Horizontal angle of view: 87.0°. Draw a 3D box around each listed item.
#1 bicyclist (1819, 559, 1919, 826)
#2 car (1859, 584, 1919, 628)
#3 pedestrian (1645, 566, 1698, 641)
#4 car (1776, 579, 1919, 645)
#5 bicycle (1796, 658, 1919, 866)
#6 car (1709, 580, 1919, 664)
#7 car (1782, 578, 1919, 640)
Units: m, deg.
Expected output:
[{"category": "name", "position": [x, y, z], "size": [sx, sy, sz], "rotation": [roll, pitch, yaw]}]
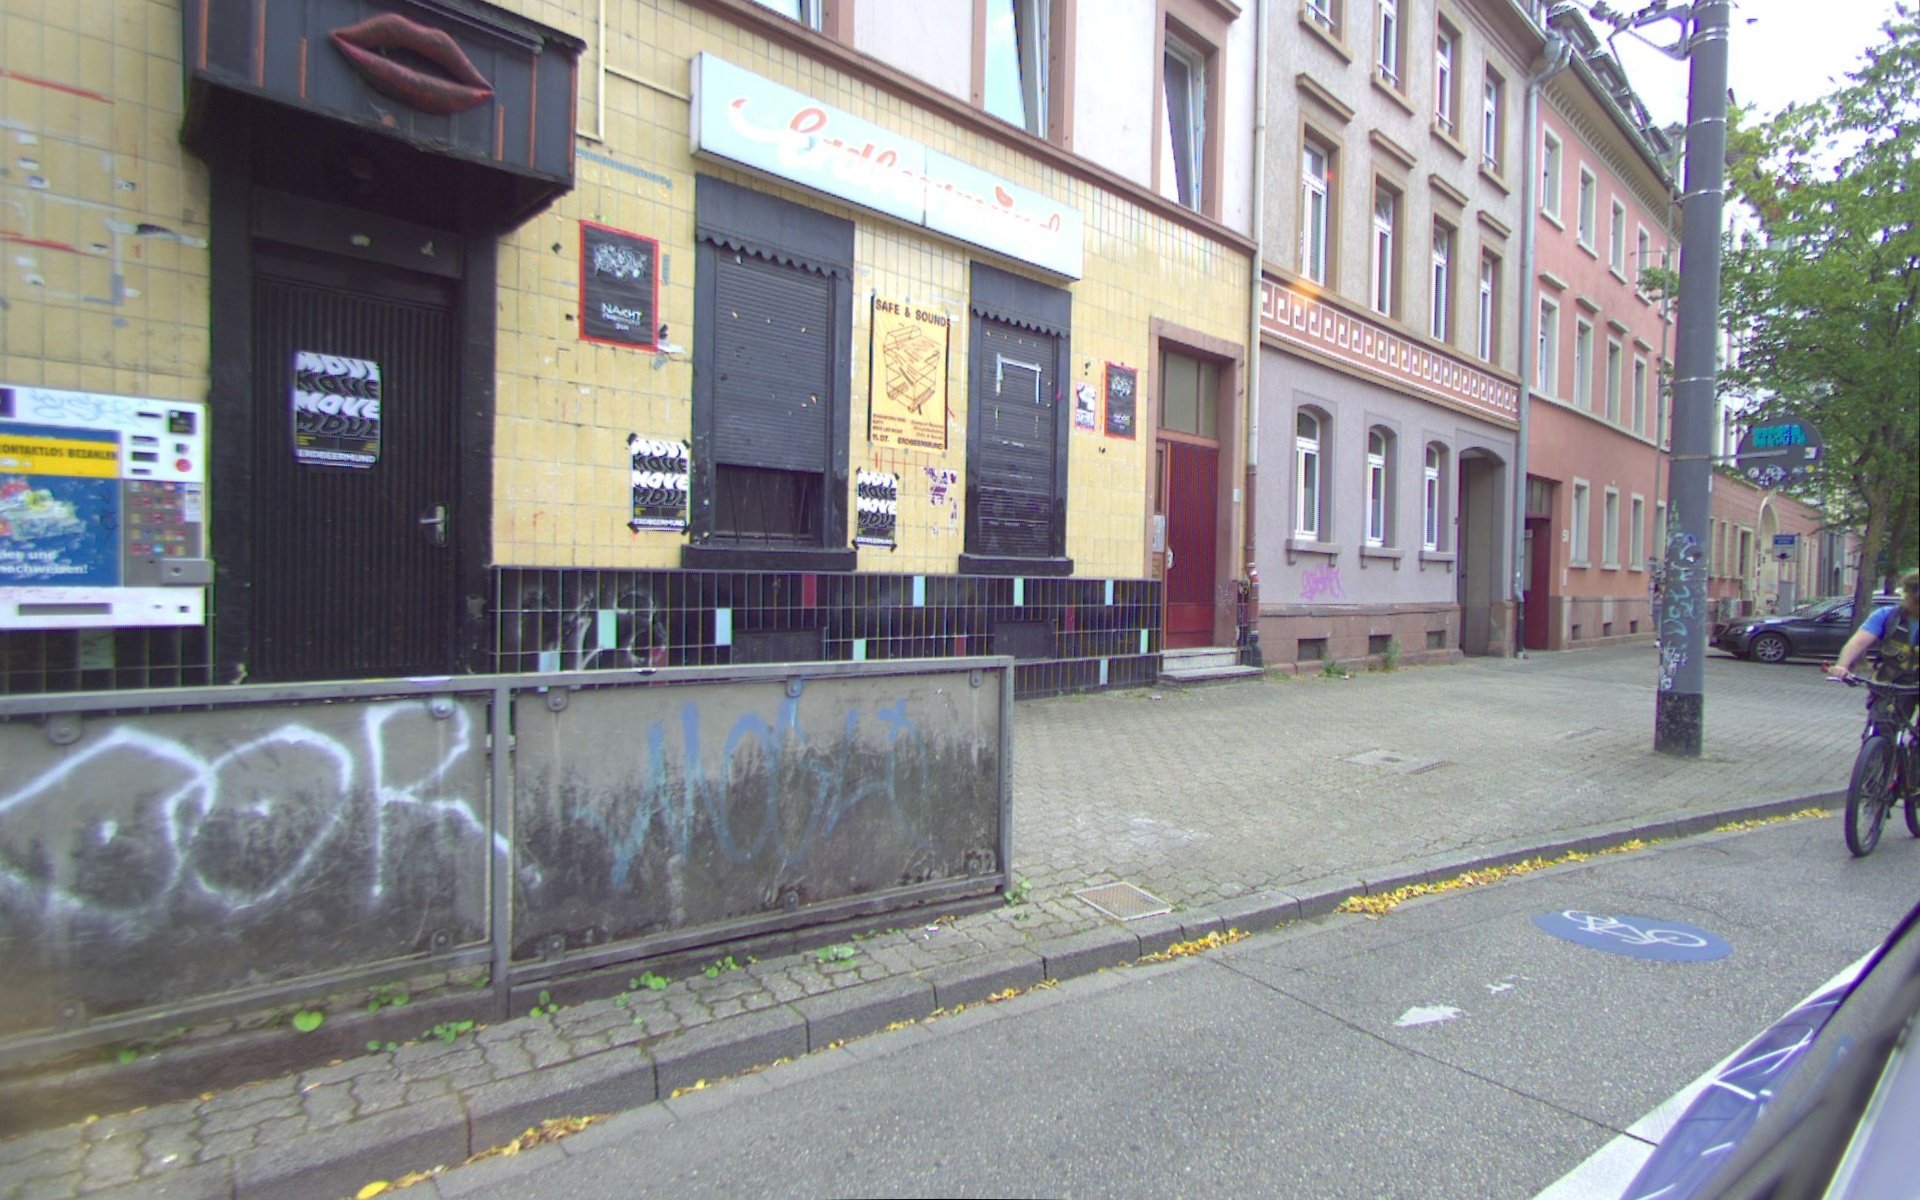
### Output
[{"category": "bicyclist", "position": [5.810, 0.529, 6.118], "size": [0.901, 1.526, 0.716], "rotation": [1, -1, -35]}, {"category": "car", "position": [39.527, 0.304, 40.677], "size": [4.581, 1.719, 1.901], "rotation": [3, 2, 25]}, {"category": "pedestrian", "position": [16.970, 0.069, 24.147], "size": [0.910, 1.708, 0.732], "rotation": [1, 4, -42]}, {"category": "car", "position": [23.392, 0.328, 25.280], "size": [4.301, 1.498, 1.774], "rotation": [3, 2, 25]}, {"category": "bicycle", "position": [5.792, 0.917, 6.111], "size": [1.766, 1.031, 0.715], "rotation": [0, 0, -35]}, {"category": "car", "position": [18.280, 0.435, 20.562], "size": [4.581, 1.491, 1.774], "rotation": [3, 2, 25]}, {"category": "car", "position": [27.941, 0.276, 30.749], "size": [4.196, 1.719, 1.725], "rotation": [3, 2, 25]}]
